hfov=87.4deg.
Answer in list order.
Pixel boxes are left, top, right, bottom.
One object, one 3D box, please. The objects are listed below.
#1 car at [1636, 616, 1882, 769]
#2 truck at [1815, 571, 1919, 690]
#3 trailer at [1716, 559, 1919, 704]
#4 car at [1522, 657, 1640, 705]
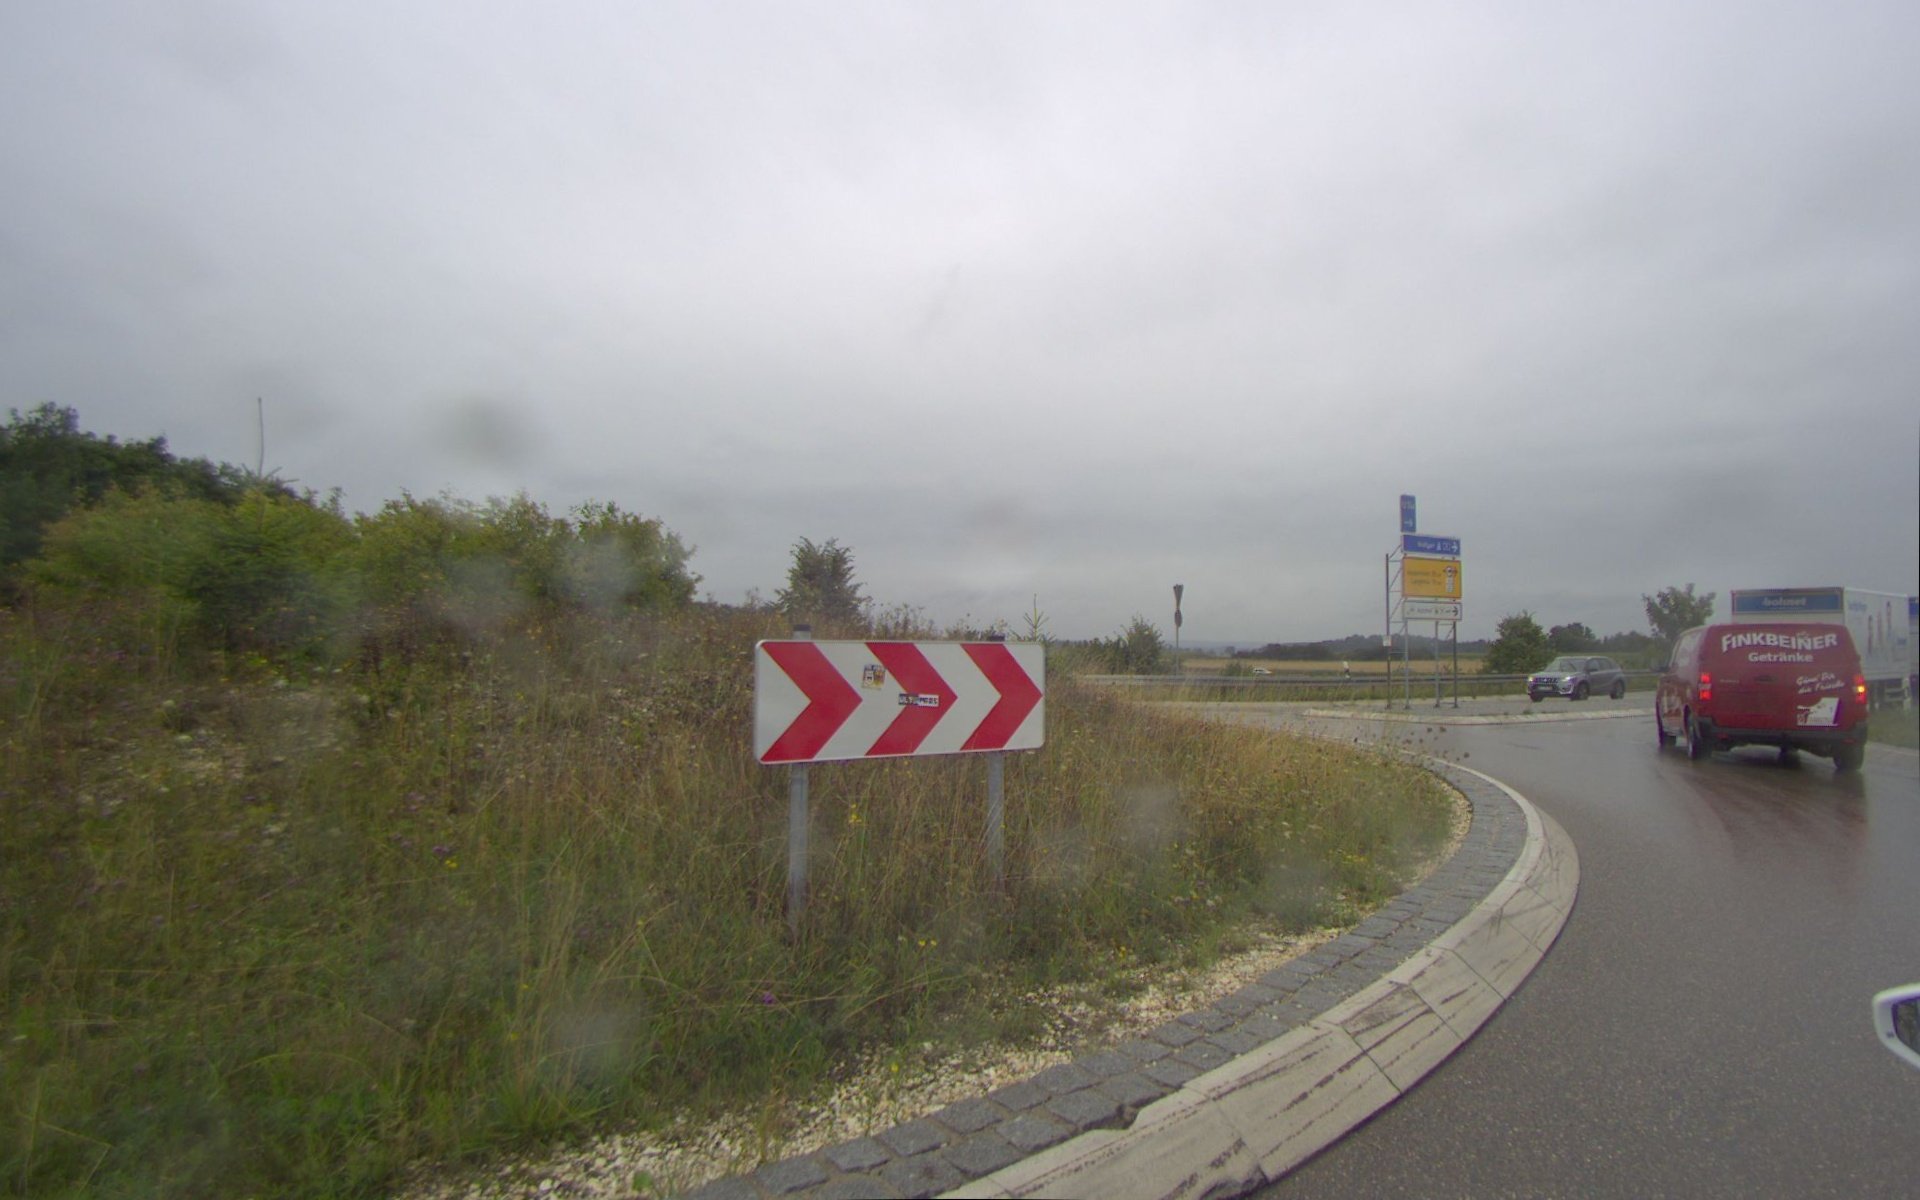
[{"bbox_3d":[11.723,1.259,15.155,1.964,1.895,4.972,-2,-3,28],"label":"car"},{"bbox_3d":[33.602,1.128,35.953,7.615,3.869,2.781,1,-3,-36],"label":"truck"},{"bbox_3d":[26.657,0.999,30.880,9.623,3.869,2.812,1,-3,-37],"label":"trailer"},{"bbox_3d":[22.246,2.890,35.987,3.947,1.595,1.795,2,-2,-26],"label":"car"}]
